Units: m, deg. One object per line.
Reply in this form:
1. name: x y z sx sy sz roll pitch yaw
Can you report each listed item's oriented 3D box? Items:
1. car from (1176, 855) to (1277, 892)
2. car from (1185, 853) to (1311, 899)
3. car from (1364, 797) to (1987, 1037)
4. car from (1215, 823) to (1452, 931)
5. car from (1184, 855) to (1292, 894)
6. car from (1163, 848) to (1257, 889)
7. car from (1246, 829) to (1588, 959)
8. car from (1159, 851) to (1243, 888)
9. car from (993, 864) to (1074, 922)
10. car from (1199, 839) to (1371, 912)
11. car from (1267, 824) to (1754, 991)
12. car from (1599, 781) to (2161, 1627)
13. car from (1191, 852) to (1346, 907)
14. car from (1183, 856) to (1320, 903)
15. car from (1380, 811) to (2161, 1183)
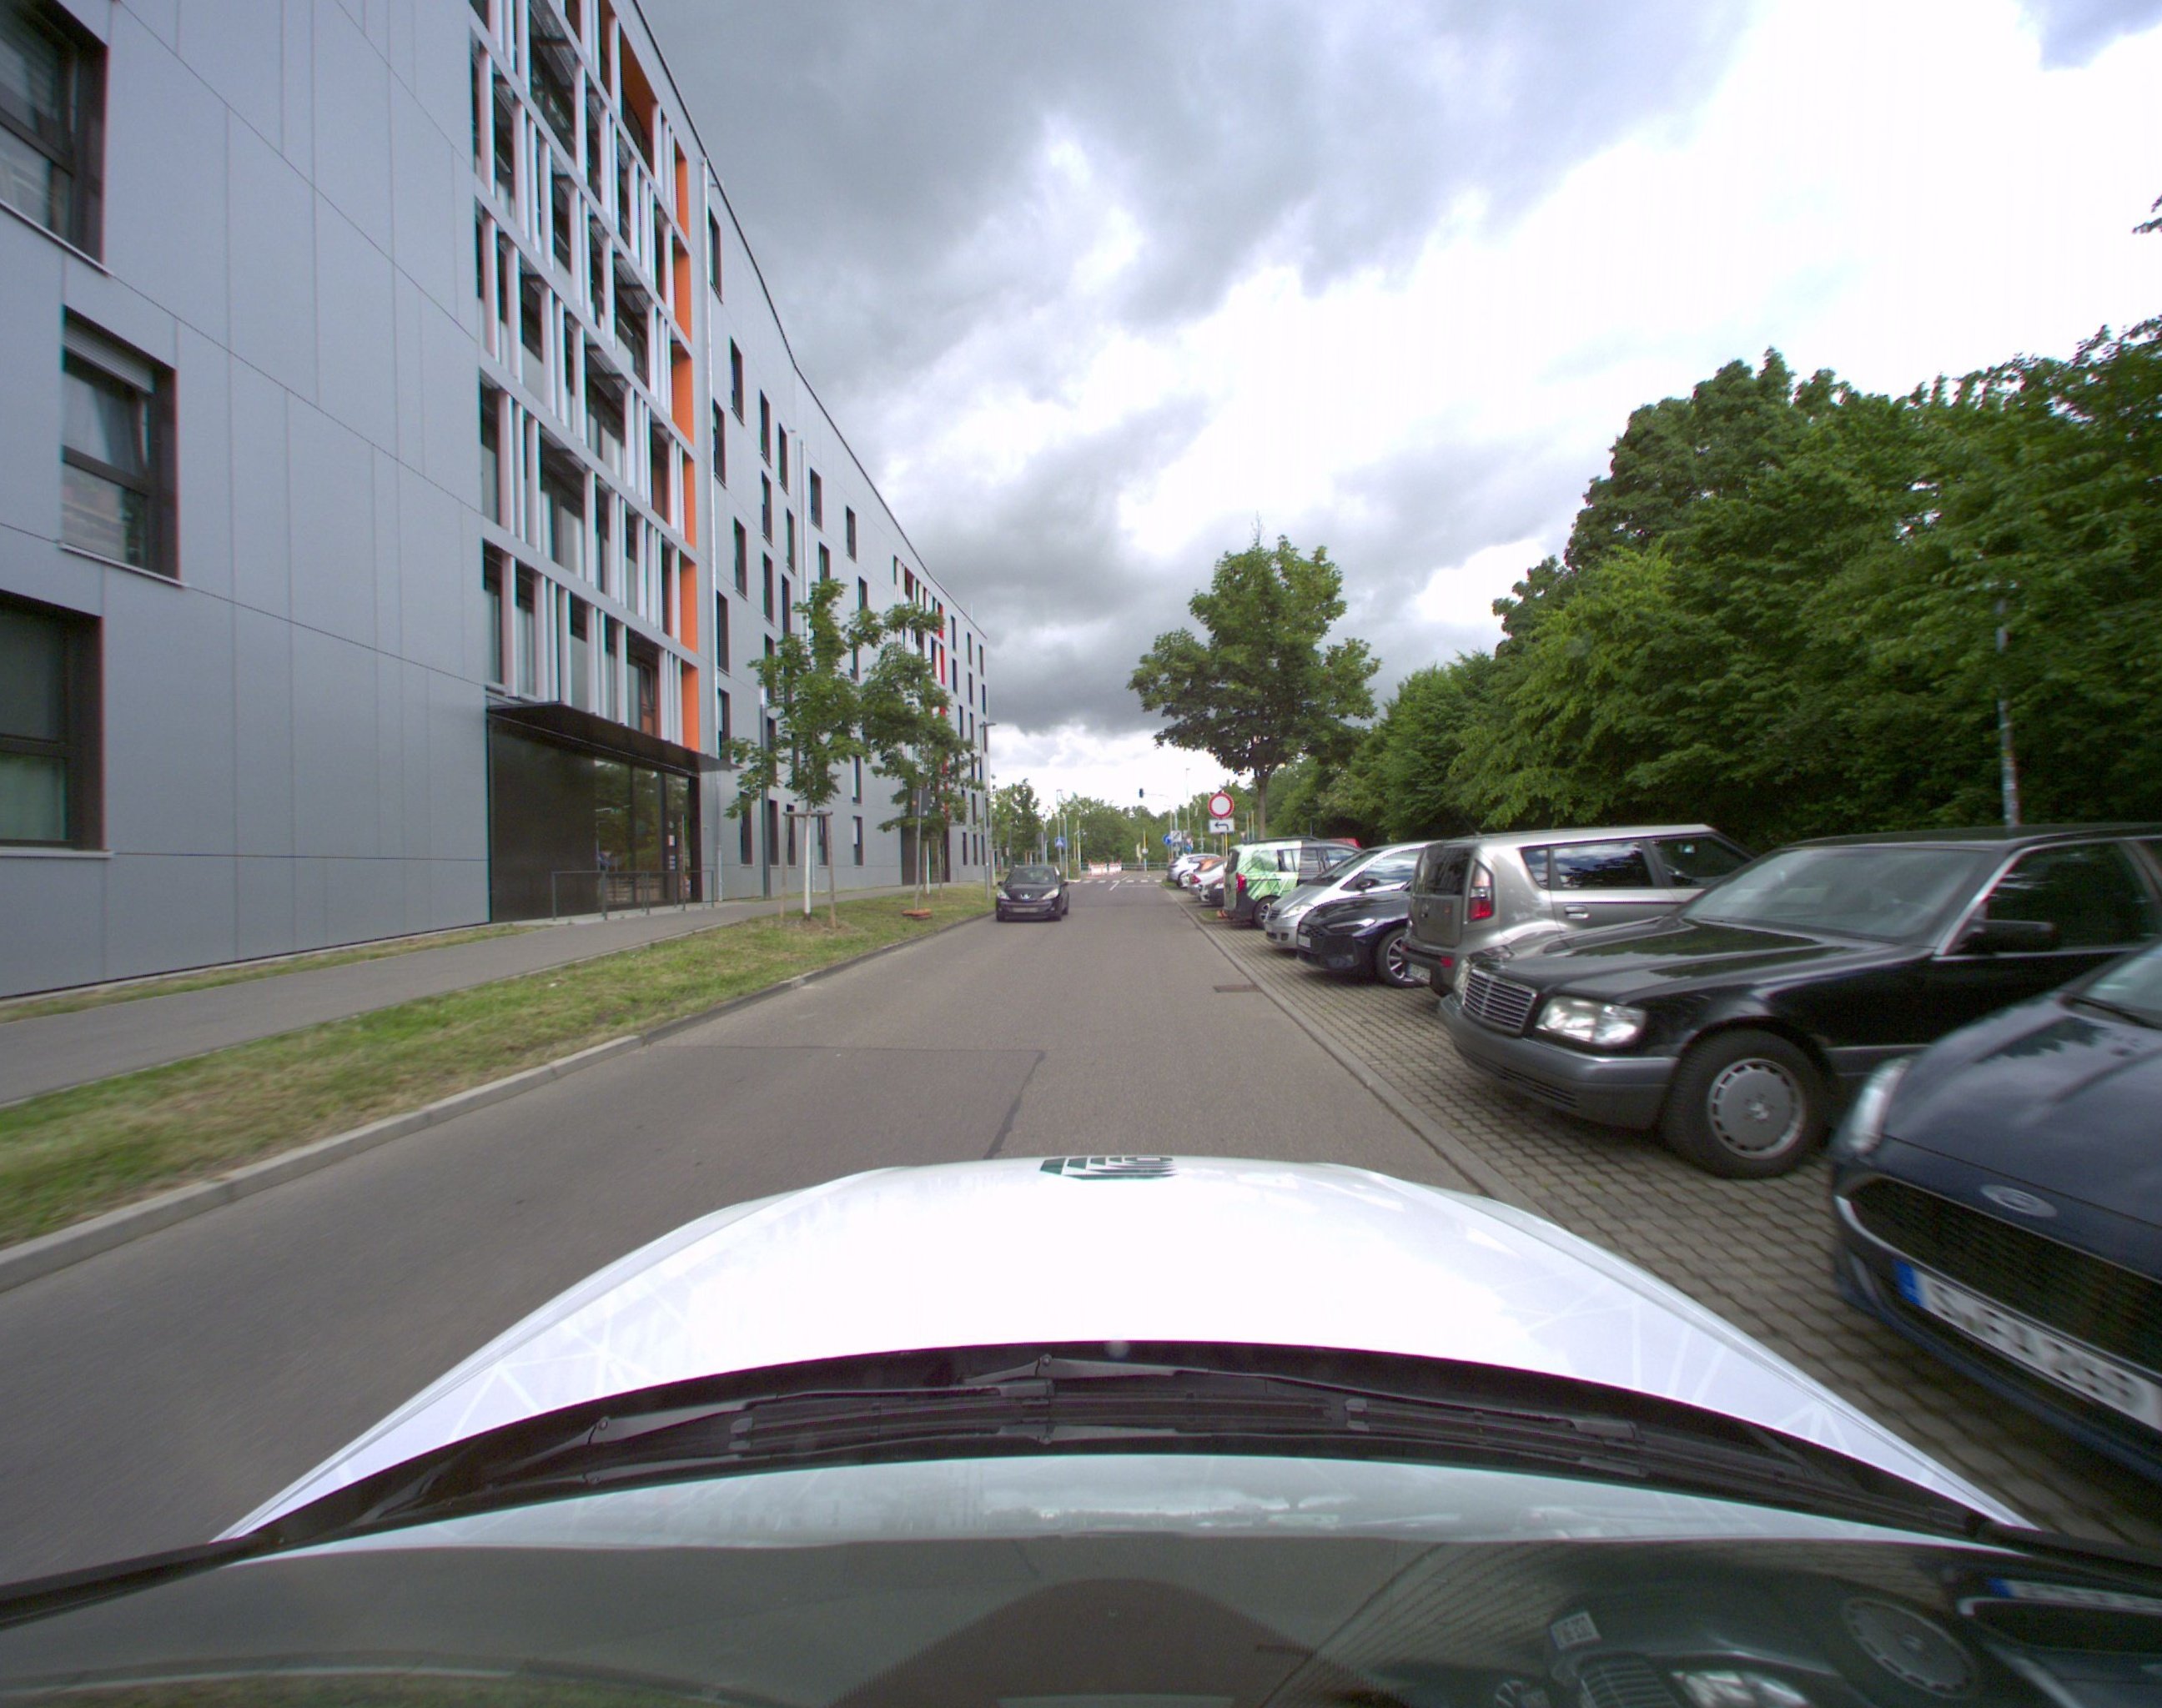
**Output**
1. car: 6.688 0.897 37.827 4.362 1.582 1.917 -1 0 1
2. car: 6.193 0.812 30.525 4.362 1.618 1.917 -1 0 1
3. car: 4.889 0.491 7.214 4.050 1.609 1.892 -3 0 1
4. car: 5.201 0.466 17.236 4.363 1.904 1.917 -3 -1 1
5. car: 6.769 0.869 35.405 4.362 1.582 1.917 -1 0 1
6. car: 6.318 0.722 40.213 4.362 1.903 1.917 -1 0 1
7. car: 4.915 0.568 12.418 4.363 1.577 1.917 -3 0 1
8. car: 6.529 0.844 44.625 4.362 1.903 1.917 -1 0 1
9. car: -1.168 0.968 21.725 1.601 1.388 4.005 -1 0 5
10. car: 5.600 0.580 22.792 4.362 1.904 1.937 -1 0 1
11. car: 4.869 0.570 9.787 4.712 1.499 2.110 -3 0 -2
12. car: 4.258 0.494 2.031 4.686 1.516 1.847 -3 0 1
13. car: 5.696 0.782 25.188 4.362 1.574 1.917 -1 -1 1
14. car: 5.770 0.860 27.978 4.362 1.475 1.917 -1 0 1
15. car: 4.404 0.589 4.523 4.705 1.434 2.058 -3 0 2
